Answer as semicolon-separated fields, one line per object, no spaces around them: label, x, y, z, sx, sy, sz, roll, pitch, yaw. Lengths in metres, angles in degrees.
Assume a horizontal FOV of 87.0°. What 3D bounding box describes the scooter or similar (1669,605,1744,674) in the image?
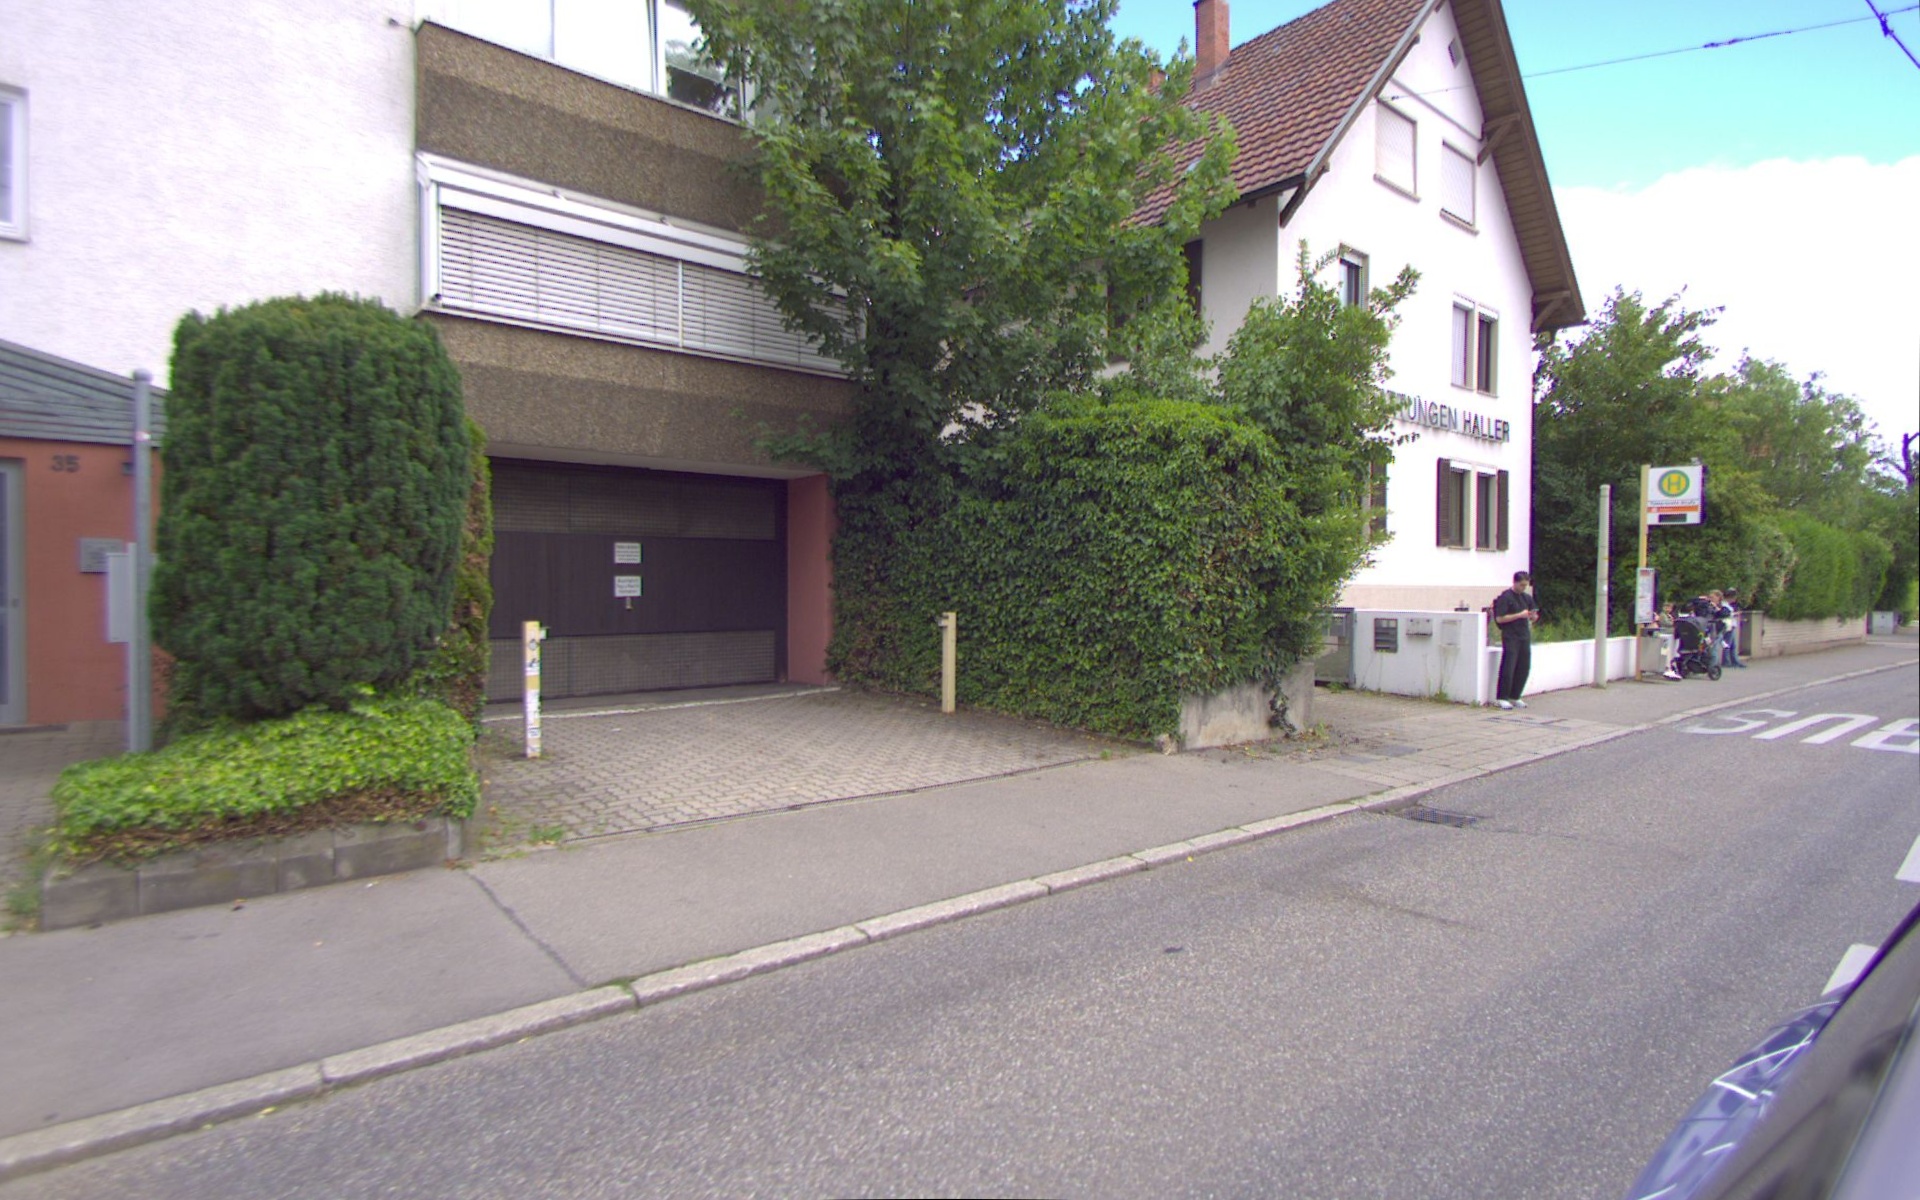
scooter or similar;12.969;0.682;17.591;0.842;1.110;0.479;3;3;3

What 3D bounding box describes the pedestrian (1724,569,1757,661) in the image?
pedestrian;15.472;0.283;20.064;0.488;1.776;0.344;-1;4;-44

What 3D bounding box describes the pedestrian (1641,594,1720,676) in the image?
pedestrian;12.140;0.564;17.053;0.914;1.266;0.777;5;4;45

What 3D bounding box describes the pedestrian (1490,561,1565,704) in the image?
pedestrian;7.313;0.408;13.045;0.657;1.789;0.491;-1;0;-8

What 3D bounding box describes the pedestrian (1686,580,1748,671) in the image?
pedestrian;13.584;0.432;18.160;0.735;1.553;0.661;-1;4;-41
